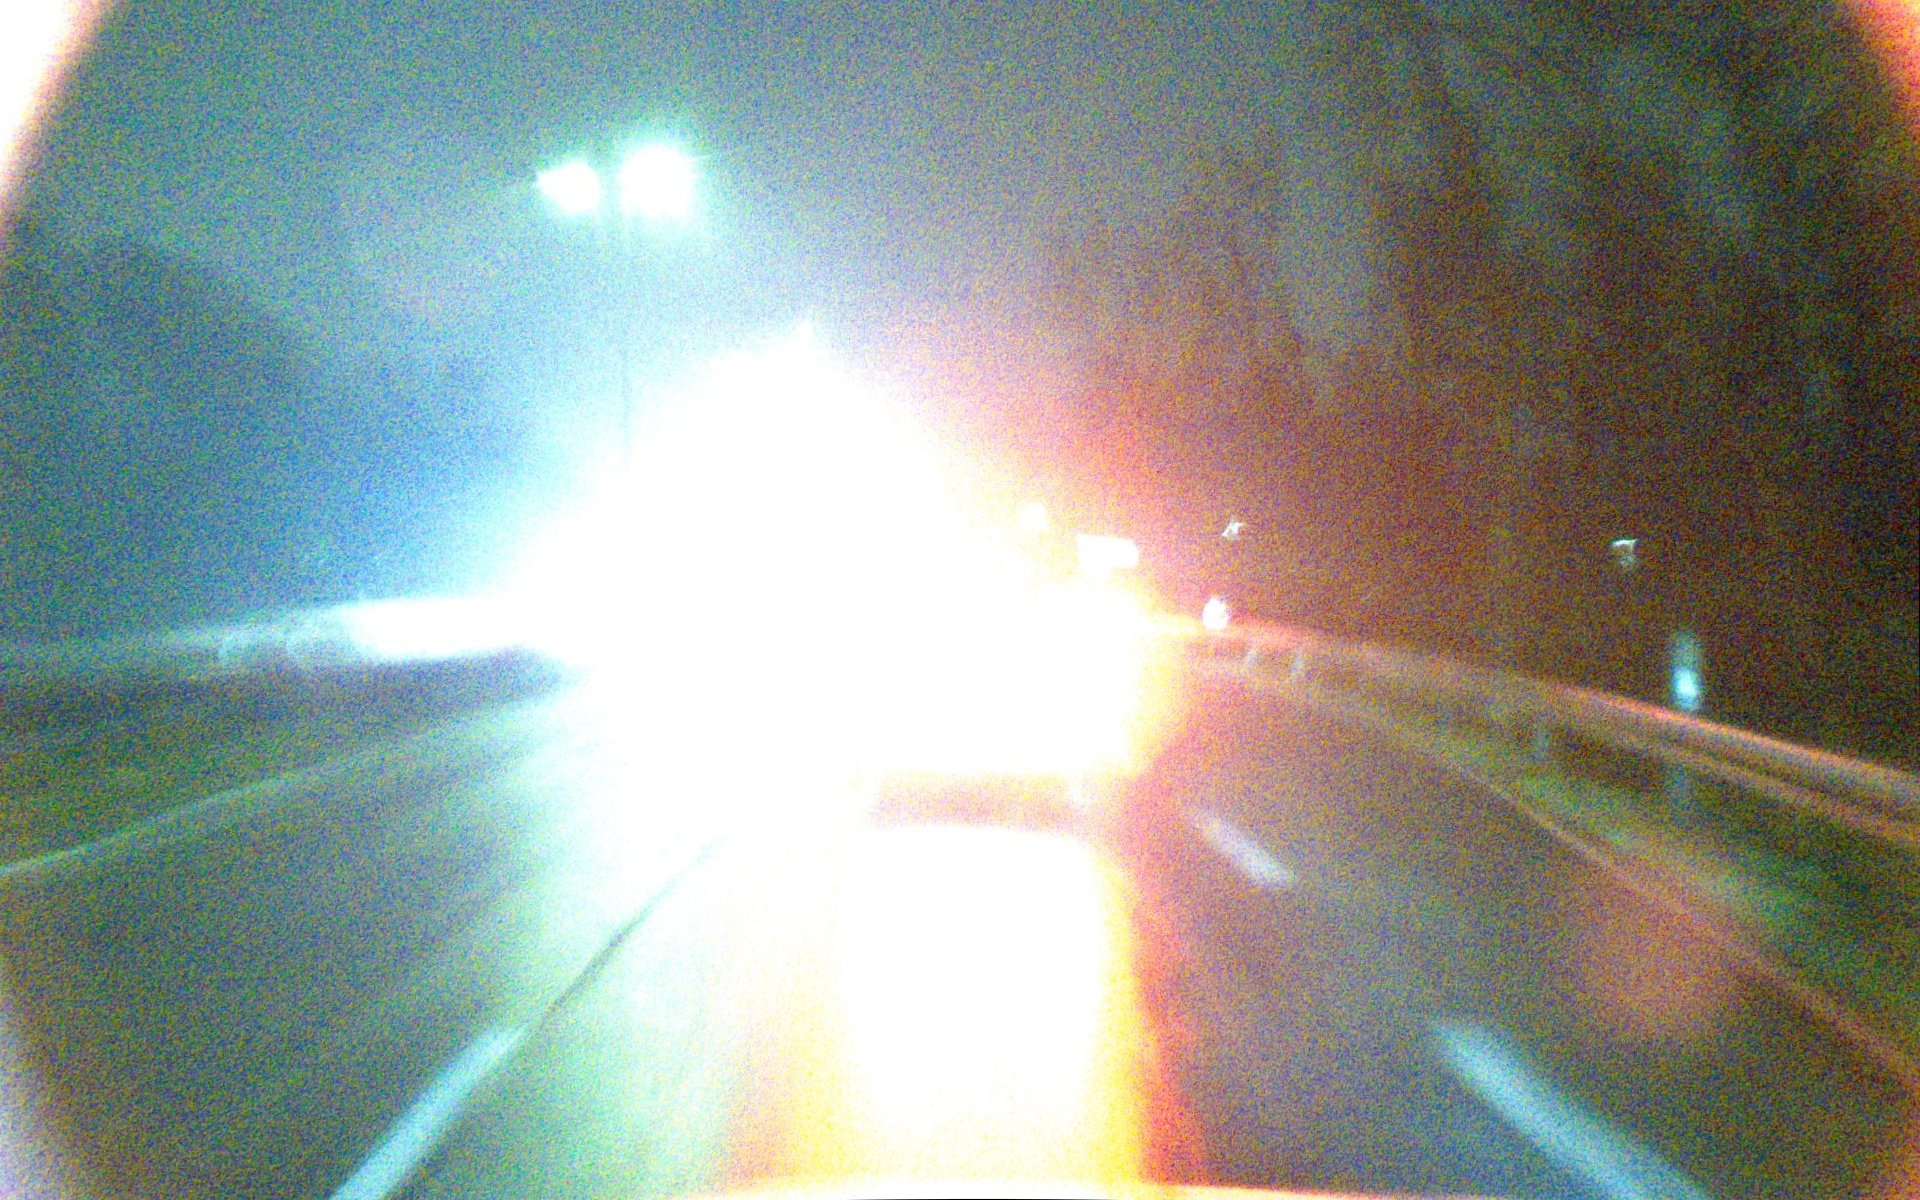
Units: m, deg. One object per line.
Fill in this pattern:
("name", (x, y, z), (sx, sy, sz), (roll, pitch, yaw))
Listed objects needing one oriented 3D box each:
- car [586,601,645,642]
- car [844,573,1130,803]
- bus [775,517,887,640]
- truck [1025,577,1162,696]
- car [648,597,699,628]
("car", (-14.082, 0.894, 67.772), (1.567, 1.579, 3.833), (2, -1, -1))
("car", (0.279, 0.599, 12.984), (1.903, 1.517, 3.717), (1, 0, 3))
("bus", (-3.615, -0.607, 48.382), (2.688, 3.178, 9.199), (2, 0, -1))
("truck", (3.307, 0.899, 40.952), (3.005, 2.573, 7.170), (2, -1, 5))
("car", (-15.610, 0.705, 90.236), (1.982, 1.528, 4.895), (2, -1, -1))
